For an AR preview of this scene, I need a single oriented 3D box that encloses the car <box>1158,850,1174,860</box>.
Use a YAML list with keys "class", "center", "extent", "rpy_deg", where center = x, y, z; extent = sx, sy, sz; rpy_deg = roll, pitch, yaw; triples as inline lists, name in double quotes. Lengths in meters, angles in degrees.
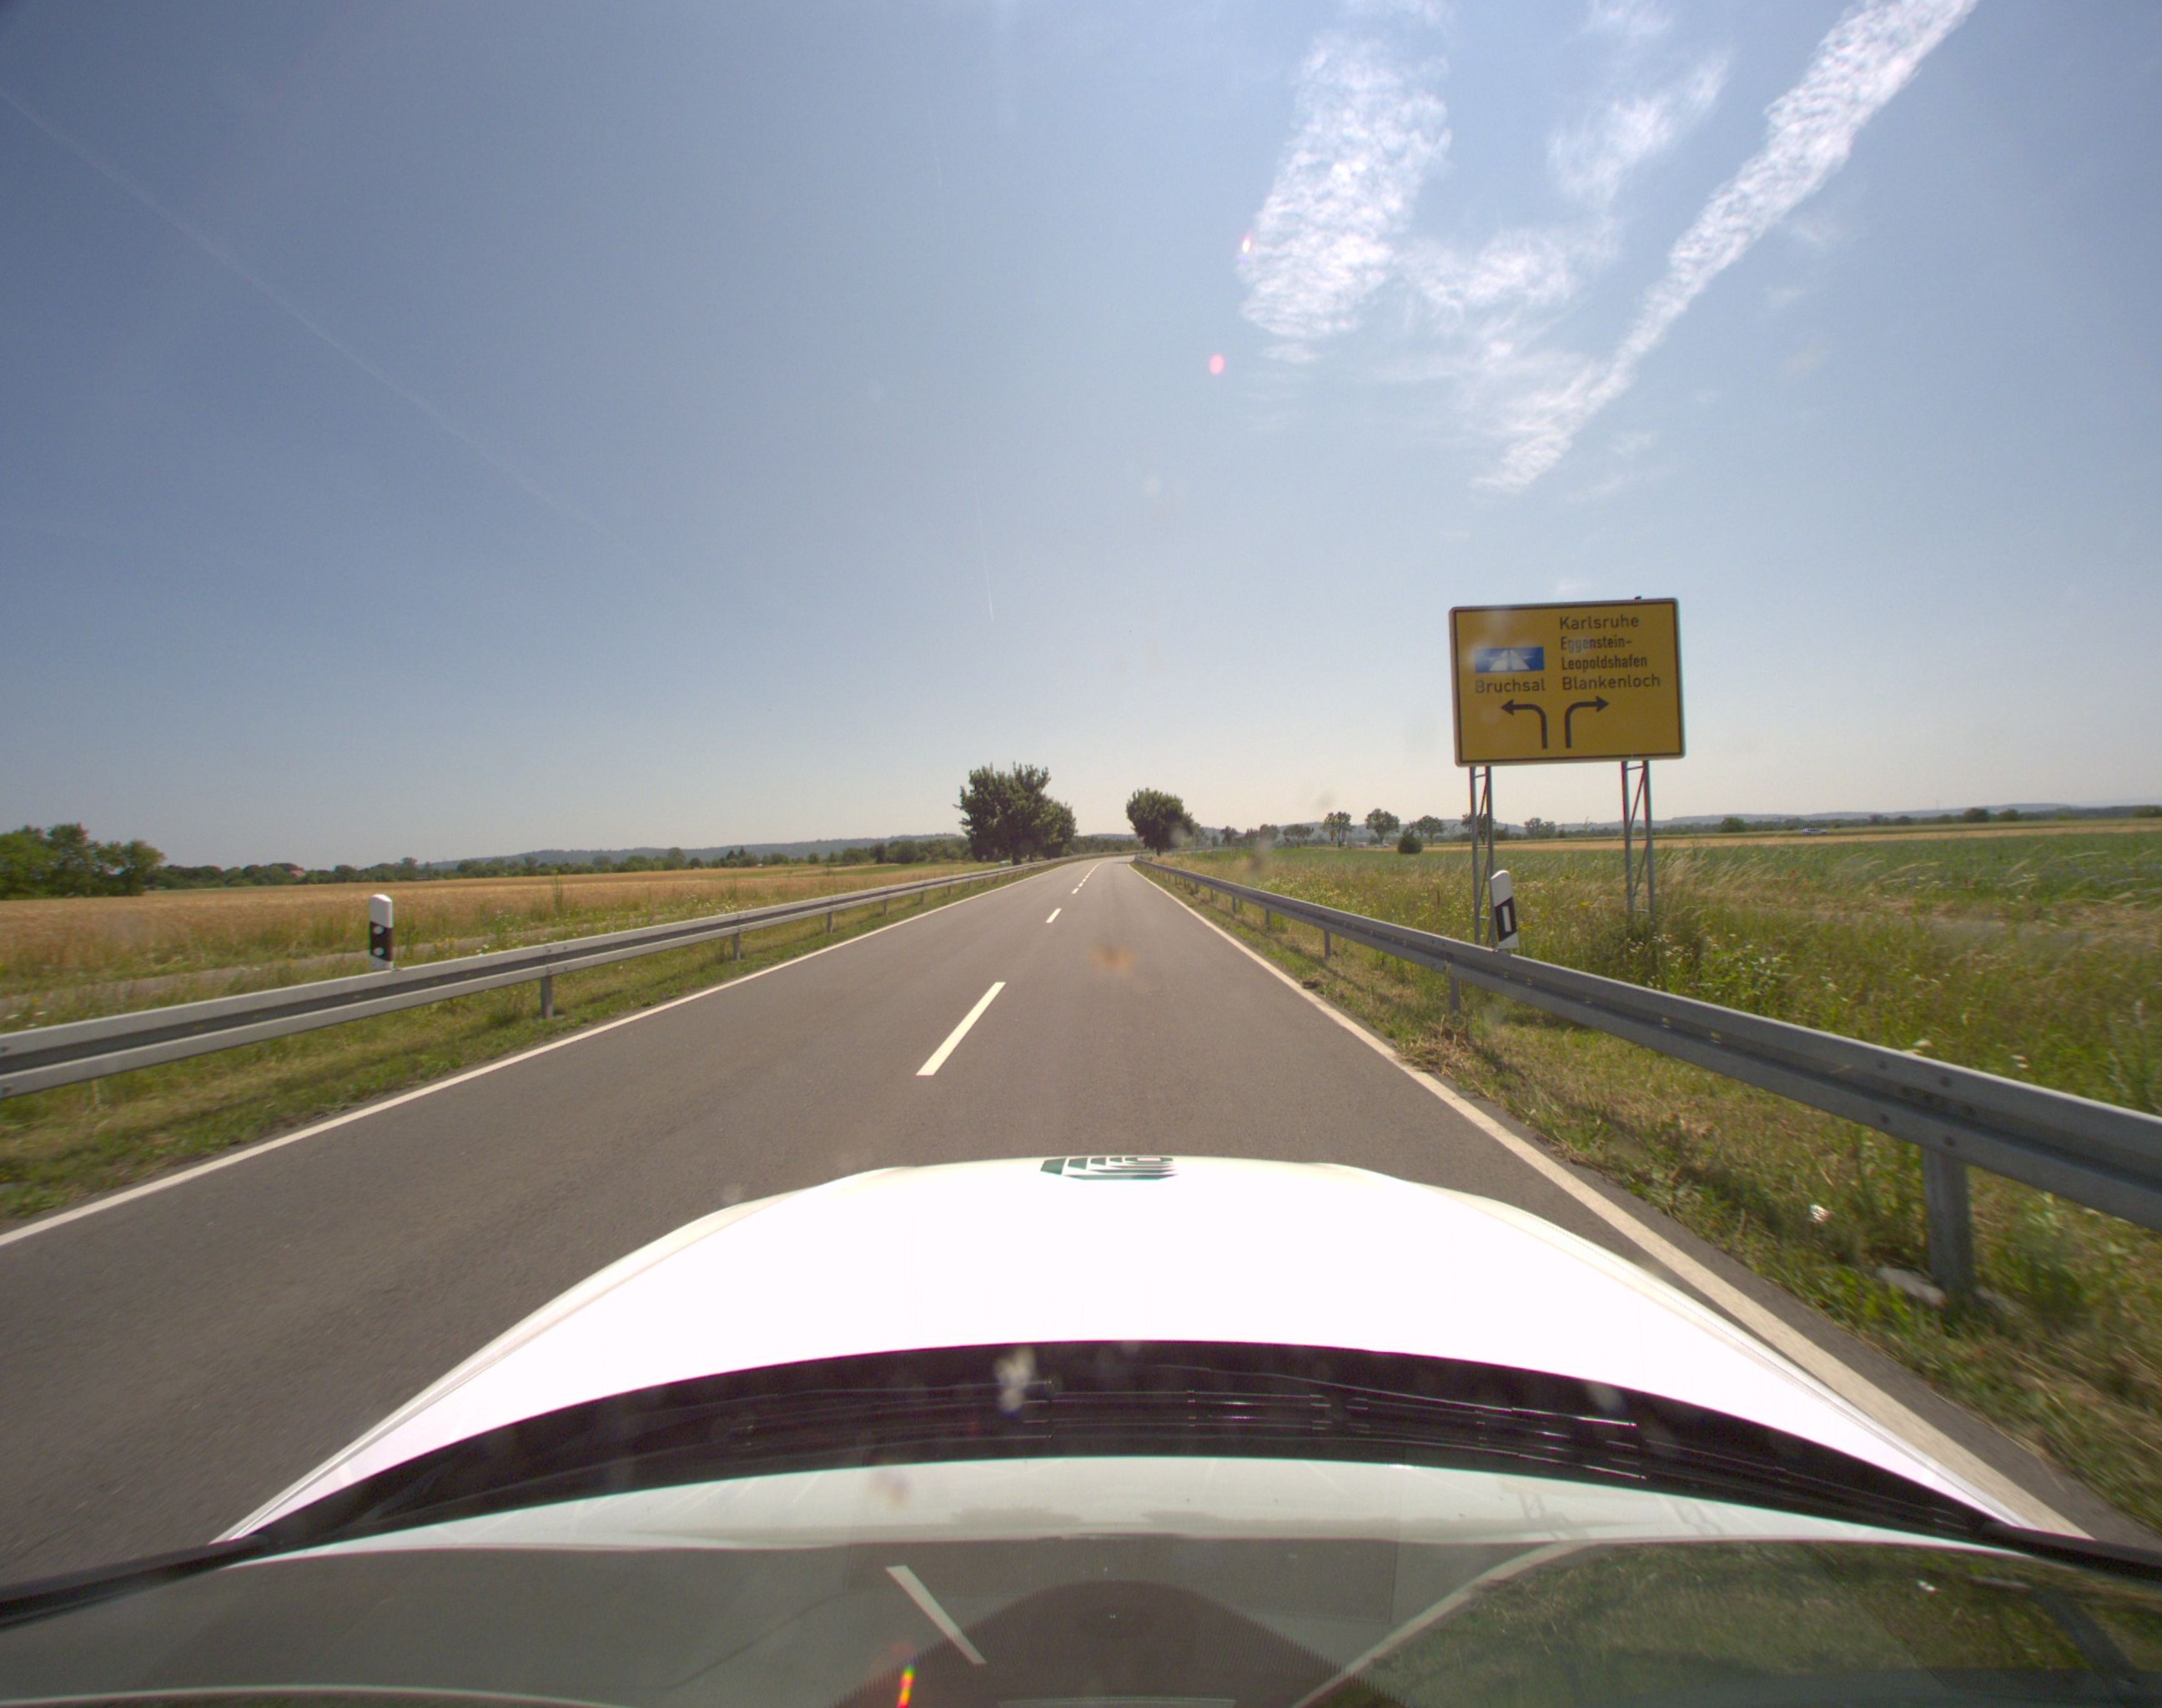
- class: "car"
  center: [17.827, 0.219, 170.873]
  extent: [1.974, 2.014, 4.025]
  rpy_deg: [0, -1, 30]
